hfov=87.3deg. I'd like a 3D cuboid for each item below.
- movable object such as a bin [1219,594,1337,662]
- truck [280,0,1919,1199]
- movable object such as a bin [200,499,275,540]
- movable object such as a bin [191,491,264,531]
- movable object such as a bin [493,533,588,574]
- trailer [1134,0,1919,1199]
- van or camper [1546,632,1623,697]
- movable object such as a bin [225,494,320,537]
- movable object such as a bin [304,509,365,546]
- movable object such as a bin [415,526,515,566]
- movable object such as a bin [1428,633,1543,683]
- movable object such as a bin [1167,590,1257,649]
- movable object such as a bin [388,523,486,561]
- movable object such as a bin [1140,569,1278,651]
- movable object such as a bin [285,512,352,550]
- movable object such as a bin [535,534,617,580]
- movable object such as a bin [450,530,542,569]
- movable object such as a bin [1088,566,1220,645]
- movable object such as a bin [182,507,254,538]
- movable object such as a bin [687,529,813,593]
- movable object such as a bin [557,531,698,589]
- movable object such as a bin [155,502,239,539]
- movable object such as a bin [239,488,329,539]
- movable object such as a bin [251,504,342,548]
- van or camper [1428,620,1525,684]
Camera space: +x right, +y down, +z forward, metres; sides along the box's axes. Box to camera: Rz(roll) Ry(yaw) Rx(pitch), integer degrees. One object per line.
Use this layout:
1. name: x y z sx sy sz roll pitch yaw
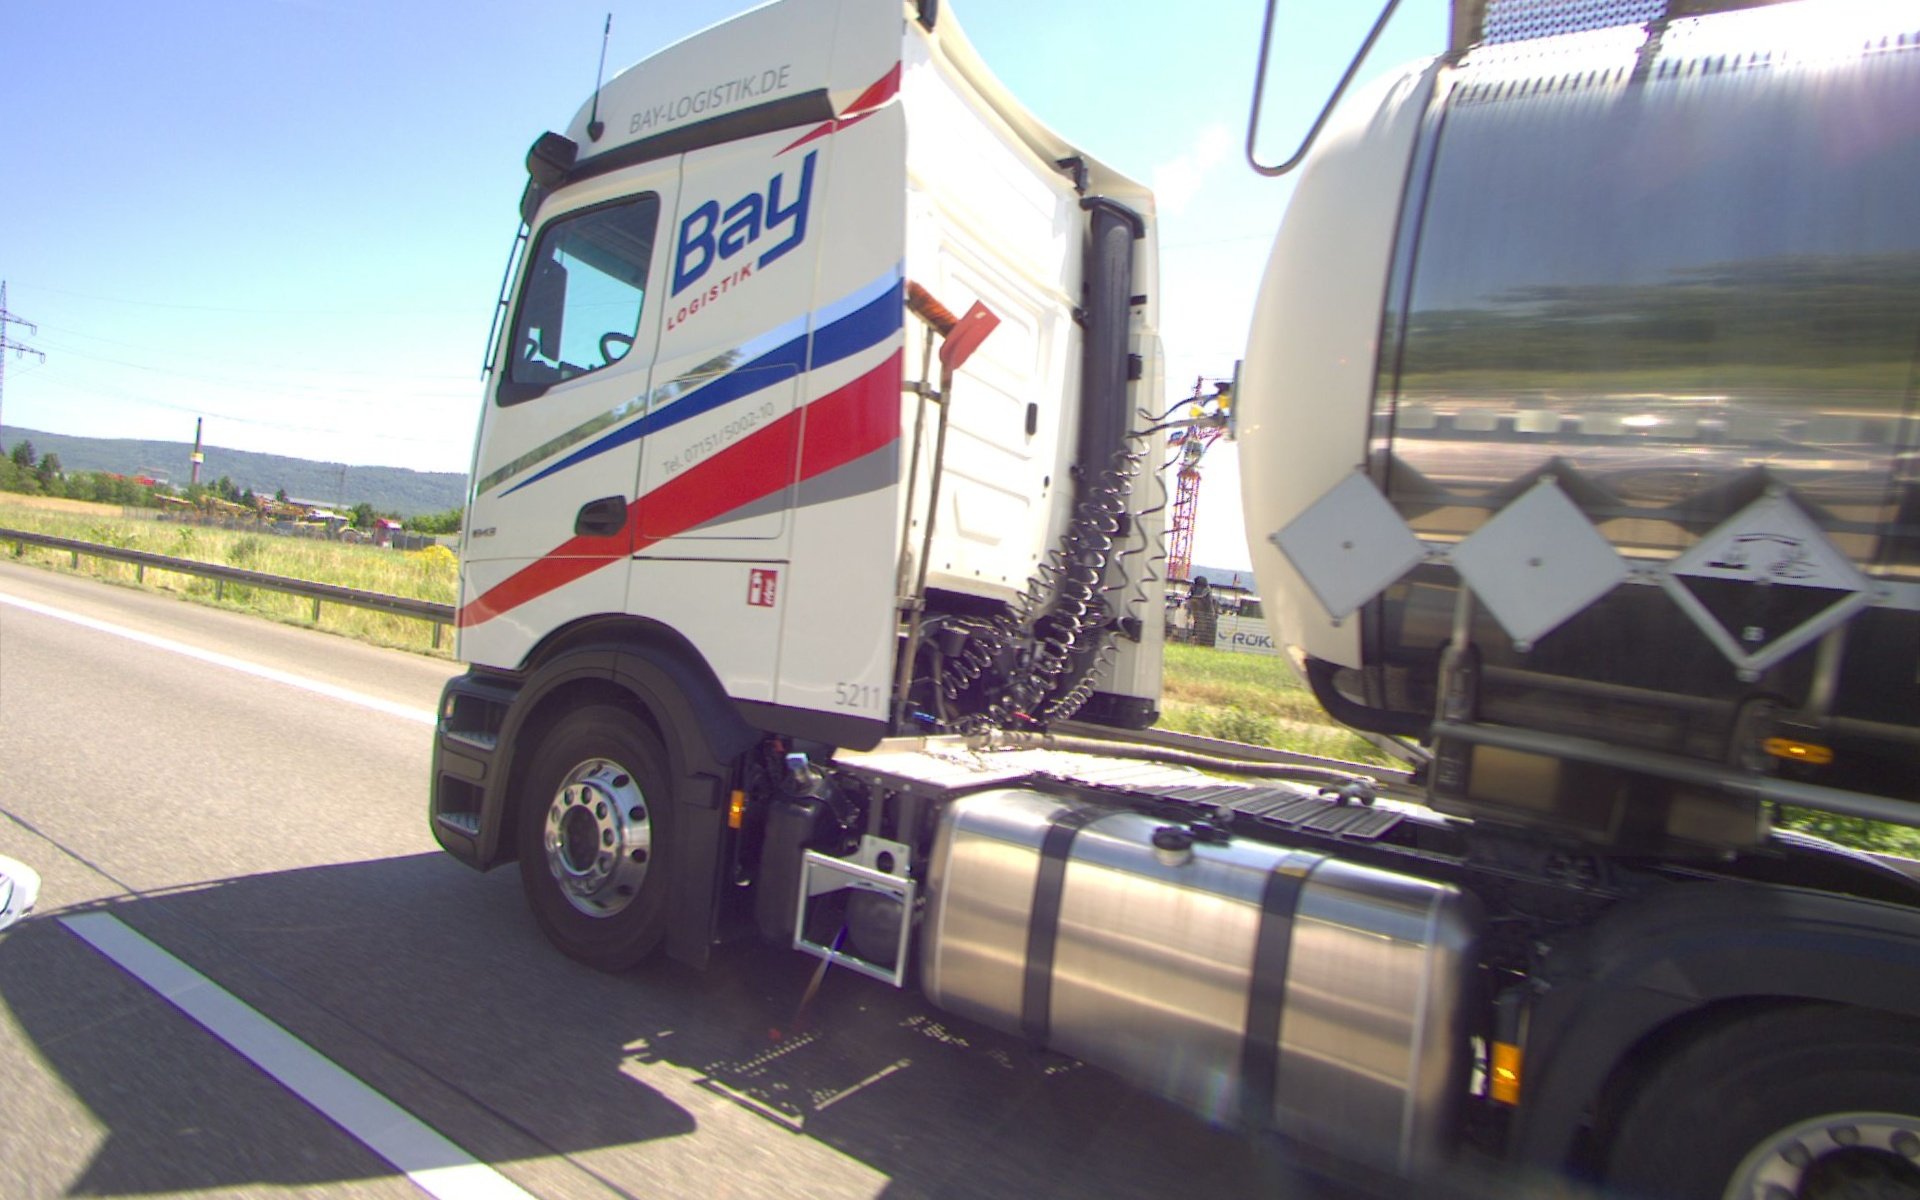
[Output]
1. movable object such as a bin: 17.055 1.572 53.513 2.911 3.045 8.721 7 1 38
2. truck: 0.370 -0.462 4.235 6.286 4.119 2.578 7 -1 31
3. movable object such as a bin: -82.509 -9.190 114.959 2.457 3.780 6.341 7 1 37
4. movable object such as a bin: -85.161 -10.361 117.075 2.239 3.780 6.341 7 1 37
5. movable object such as a bin: -36.262 -4.000 87.120 6.856 2.723 3.138 5 1 -44
6. trailer: 5.964 0.206 0.785 10.918 4.121 2.585 7 -1 31
7. van or camper: 28.272 2.912 45.480 2.560 2.432 6.120 7 0 33
8. movable object such as a bin: -77.978 -9.545 114.272 3.288 3.780 8.176 7 1 39
9. movable object such as a bin: -64.802 -7.519 104.273 2.264 3.238 4.808 7 1 39
10. movable object such as a bin: -45.565 -4.955 92.646 7.779 2.723 3.147 6 1 -35
11. movable object such as a bin: 36.554 4.014 70.029 6.695 2.587 2.914 6 1 32
12. movable object such as a bin: 18.388 1.469 73.014 2.877 3.617 9.038 7 1 36
13. movable object such as a bin: -49.489 -5.483 95.338 7.779 2.723 3.147 6 1 -35
14. movable object such as a bin: 13.786 0.669 54.943 3.367 3.737 9.706 7 1 38
15. movable object such as a bin: -68.704 -7.397 107.759 2.747 3.335 5.250 7 1 39
16. movable object such as a bin: -32.416 -3.587 85.104 5.808 3.238 2.490 5 1 -44
17. movable object such as a bin: -41.547 -4.508 90.122 6.838 2.723 3.146 5 1 -36
18. movable object such as a bin: 11.220 0.434 57.243 2.932 3.737 9.705 7 1 38
19. movable object such as a bin: -87.905 -9.167 119.237 2.239 2.917 6.341 7 1 37
20. movable object such as a bin: -15.354 -2.777 74.753 2.620 3.736 10.260 7 1 31
21. movable object such as a bin: -26.459 -3.124 80.356 10.181 3.459 2.499 6 1 -33
22. movable object such as a bin: -91.367 -9.520 120.619 2.239 3.446 7.539 7 1 37
23. movable object such as a bin: -75.073 -9.553 111.824 3.057 4.586 7.508 7 1 39
24. movable object such as a bin: -72.235 -8.052 109.596 3.057 3.831 7.508 7 1 39
25. van or camper: 25.774 2.634 49.931 3.109 2.553 9.317 7 0 33
